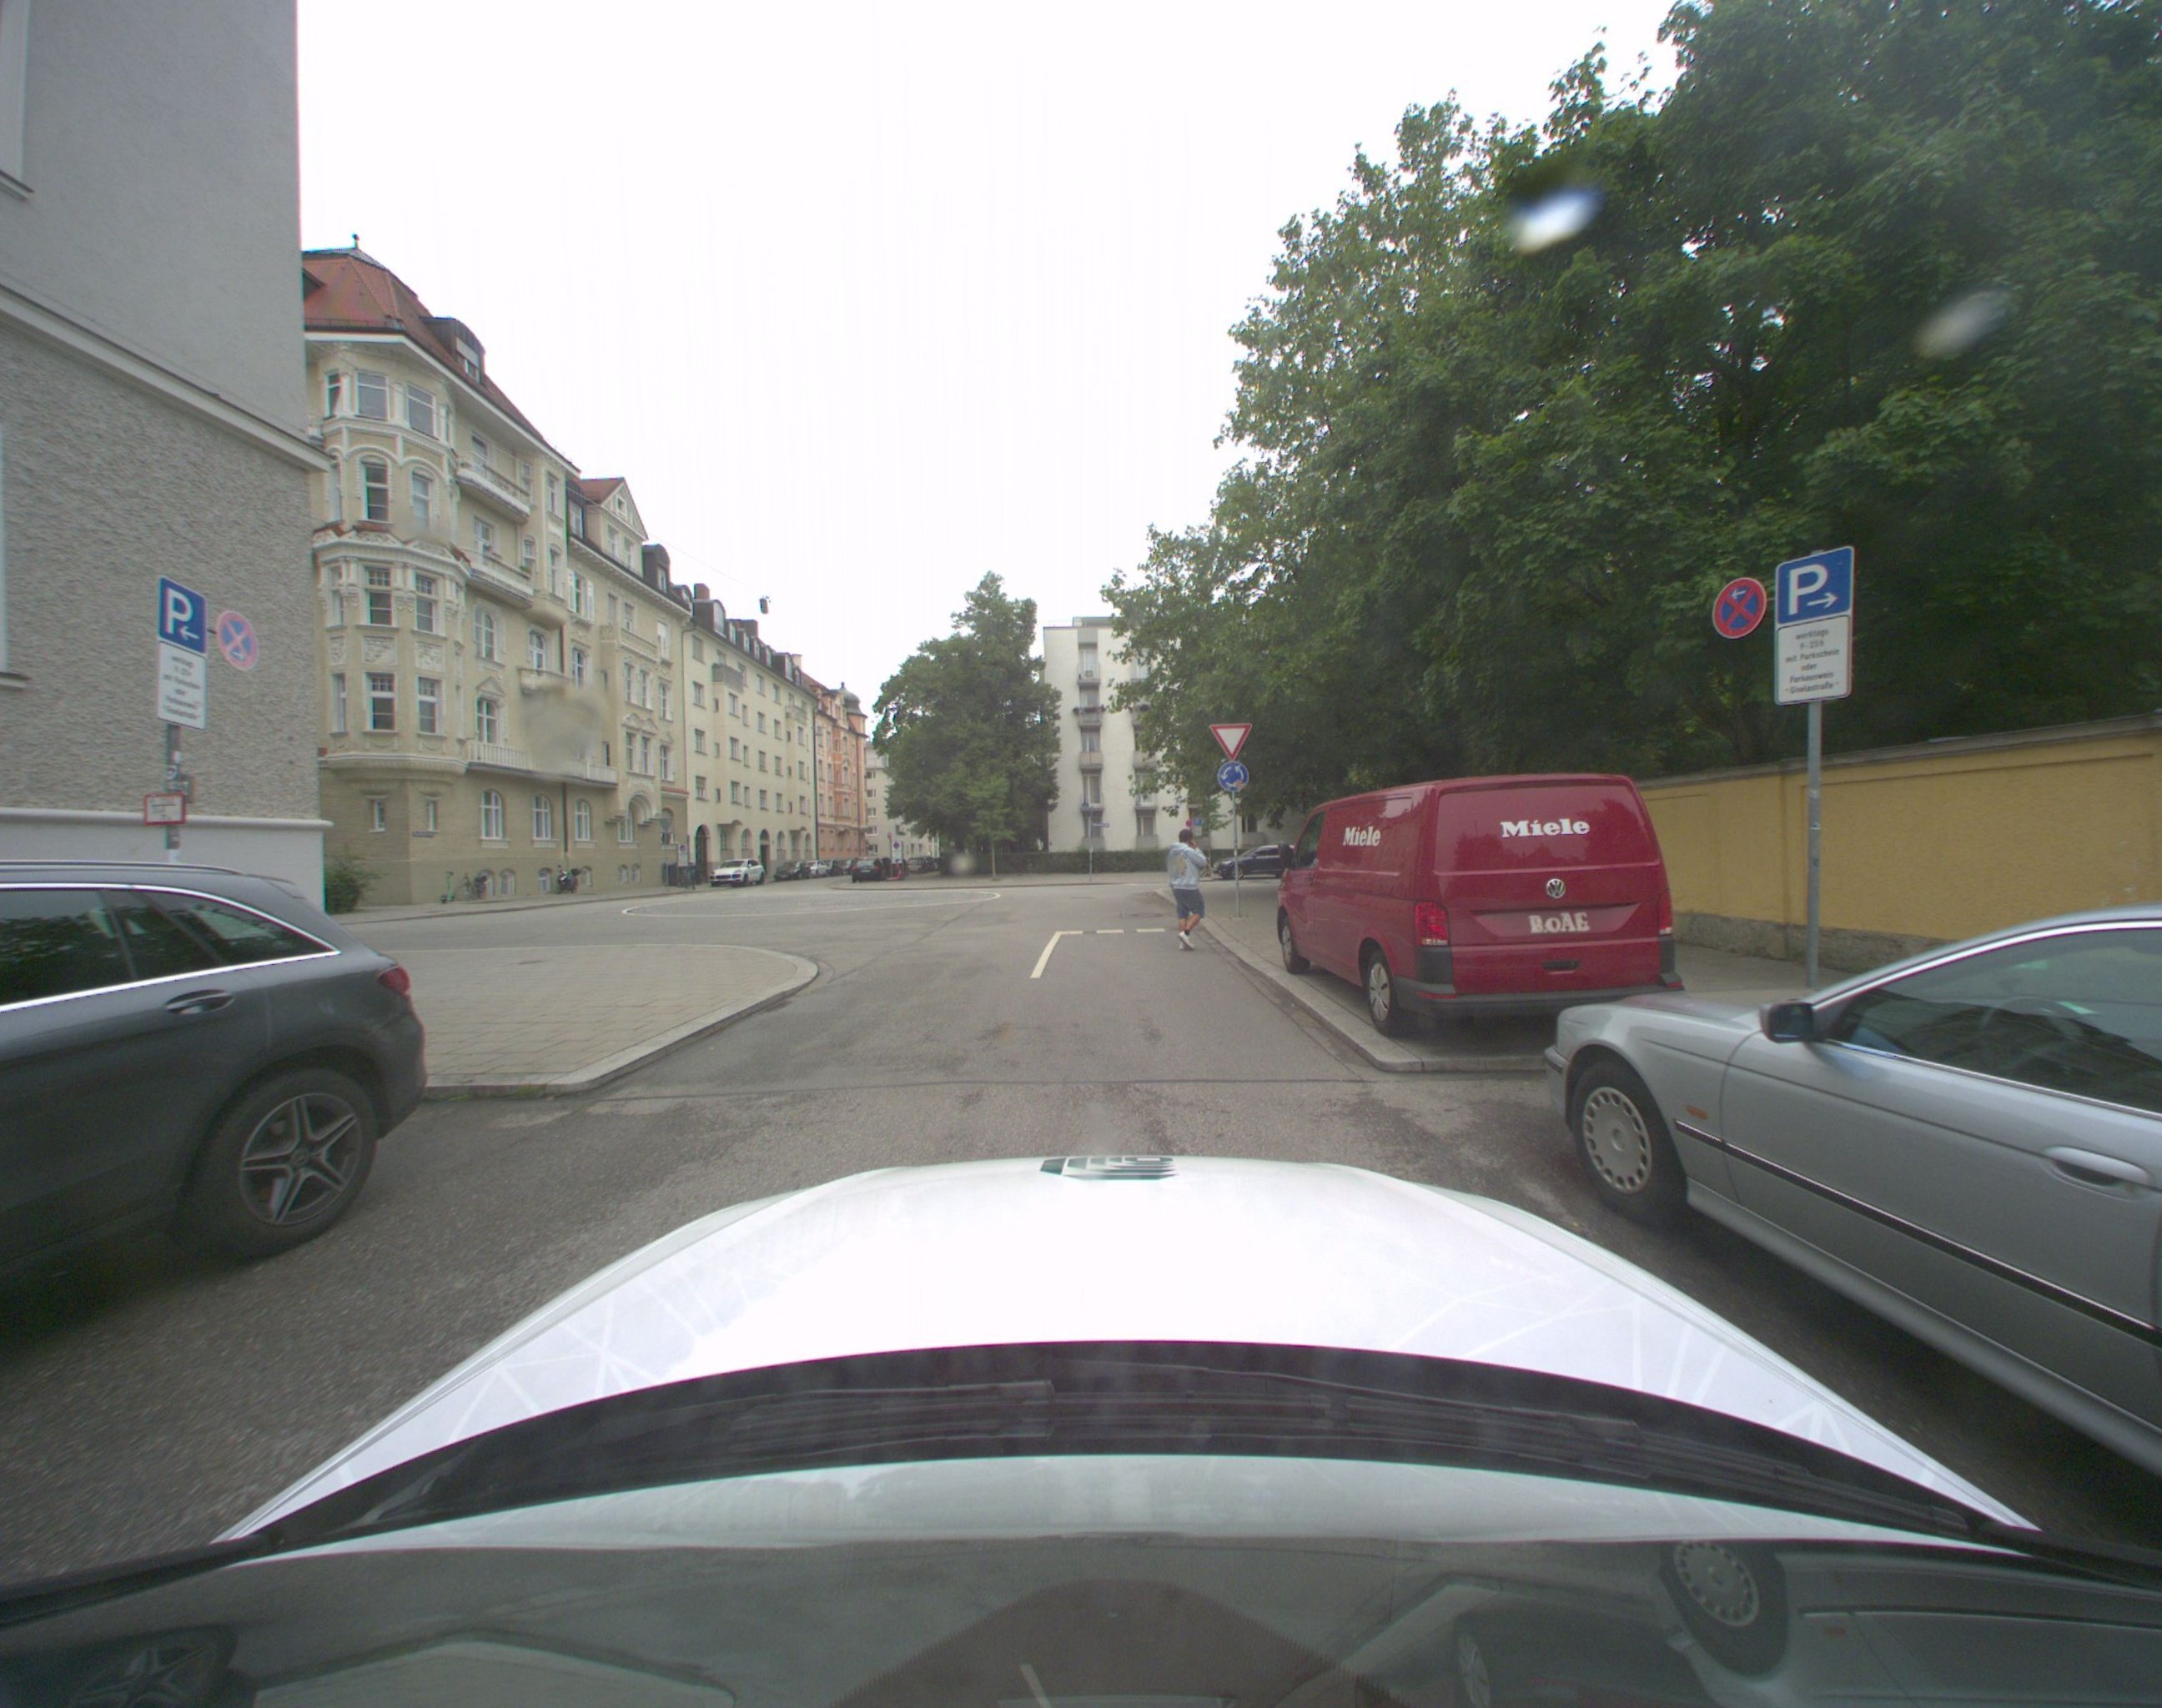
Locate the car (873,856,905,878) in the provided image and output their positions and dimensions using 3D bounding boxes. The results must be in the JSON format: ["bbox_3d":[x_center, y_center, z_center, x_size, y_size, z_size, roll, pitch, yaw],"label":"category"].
[{"bbox_3d":[-14.033,0.911,59.719,1.792,1.505,4.105,-3,0,-7],"label":"car"}]

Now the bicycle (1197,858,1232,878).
[{"bbox_3d":[7.432,0.783,45.333,1.827,1.049,0.489,-2,0,-14],"label":"bicycle"}]

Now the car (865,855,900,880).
[{"bbox_3d":[-13.407,0.879,55.179,1.792,1.505,4.224,-3,0,-7],"label":"car"}]

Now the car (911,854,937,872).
[{"bbox_3d":[-15.624,0.876,81.144,1.830,1.634,4.113,-3,0,-1],"label":"car"}]

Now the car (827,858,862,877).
[{"bbox_3d":[-21.827,1.233,75.343,1.969,1.581,4.407,-1,0,-1],"label":"car"}]

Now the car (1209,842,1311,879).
[{"bbox_3d":[9.416,0.332,43.005,4.892,1.792,1.995,-2,-1,-7],"label":"car"}]

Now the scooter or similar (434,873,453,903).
[{"bbox_3d":[-24.372,1.296,31.156,0.469,1.115,1.202,-1,0,-35],"label":"scooter or similar"}]

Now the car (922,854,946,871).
[{"bbox_3d":[-15.639,0.847,86.811,1.829,1.634,3.820,-3,0,0],"label":"car"}]

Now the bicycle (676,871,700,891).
[{"bbox_3d":[-22.818,1.569,47.301,0.561,1.049,1.828,-2,0,-3],"label":"bicycle"}]

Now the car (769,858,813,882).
[{"bbox_3d":[-21.414,1.142,60.304,1.973,1.616,4.704,-1,0,-5],"label":"car"}]

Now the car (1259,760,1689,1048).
[{"bbox_3d":[3.173,0.322,7.910,1.867,1.920,4.888,0,0,1],"label":"car"}]

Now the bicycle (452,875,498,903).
[{"bbox_3d":[-24.683,1.422,33.189,0.561,1.049,1.828,-2,0,-3],"label":"bicycle"}]

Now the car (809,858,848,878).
[{"bbox_3d":[-21.756,1.211,70.344,1.969,1.581,4.406,-1,0,-1],"label":"car"}]

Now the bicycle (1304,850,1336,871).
[{"bbox_3d":[13.442,0.346,45.858,0.539,1.149,1.813,-2,0,-29],"label":"bicycle"}]

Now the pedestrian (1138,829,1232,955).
[{"bbox_3d":[1.560,0.539,12.242,1.056,1.771,0.868,-2,0,-32],"label":"pedestrian"}]

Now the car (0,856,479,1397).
[{"bbox_3d":[-4.135,0.865,2.077,1.741,1.602,4.496,-3,0,0],"label":"car"}]

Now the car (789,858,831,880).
[{"bbox_3d":[-21.629,1.184,65.180,1.970,1.581,4.406,-1,0,-1],"label":"car"}]

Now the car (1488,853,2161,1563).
[{"bbox_3d":[3.147,0.730,2.176,1.879,1.448,4.366,0,0,-1],"label":"car"}]

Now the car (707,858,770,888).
[{"bbox_3d":[-20.859,1.116,49.764,1.971,1.700,4.835,-1,0,-3],"label":"car"}]

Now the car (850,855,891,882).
[{"bbox_3d":[-12.835,0.852,49.958,1.817,1.505,4.411,-3,0,-7],"label":"car"}]

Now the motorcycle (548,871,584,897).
[{"bbox_3d":[-24.746,1.439,39.175,0.597,1.176,1.828,-2,0,-3],"label":"motorcycle"}]

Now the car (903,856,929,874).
[{"bbox_3d":[-15.452,1.015,76.537,1.832,1.505,4.107,-3,0,-5],"label":"car"}]

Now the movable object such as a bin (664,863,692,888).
[{"bbox_3d":[-24.740,1.311,50.004,1.087,1.425,1.173,-2,0,-1],"label":"movable object such as a bin"}]

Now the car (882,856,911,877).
[{"bbox_3d":[-14.762,0.953,65.455,1.792,1.505,4.105,-3,0,-7],"label":"car"}]

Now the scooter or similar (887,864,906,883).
[{"bbox_3d":[-10.705,1.114,47.319,1.005,1.088,0.387,-1,0,-30],"label":"scooter or similar"}]

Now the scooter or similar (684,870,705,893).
[{"bbox_3d":[-21.135,1.496,44.537,1.199,1.193,0.471,-1,0,37],"label":"scooter or similar"}]

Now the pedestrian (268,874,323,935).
[{"bbox_3d":[-22.268,1.417,23.098,0.730,1.636,0.853,-2,0,-9],"label":"pedestrian"}]
